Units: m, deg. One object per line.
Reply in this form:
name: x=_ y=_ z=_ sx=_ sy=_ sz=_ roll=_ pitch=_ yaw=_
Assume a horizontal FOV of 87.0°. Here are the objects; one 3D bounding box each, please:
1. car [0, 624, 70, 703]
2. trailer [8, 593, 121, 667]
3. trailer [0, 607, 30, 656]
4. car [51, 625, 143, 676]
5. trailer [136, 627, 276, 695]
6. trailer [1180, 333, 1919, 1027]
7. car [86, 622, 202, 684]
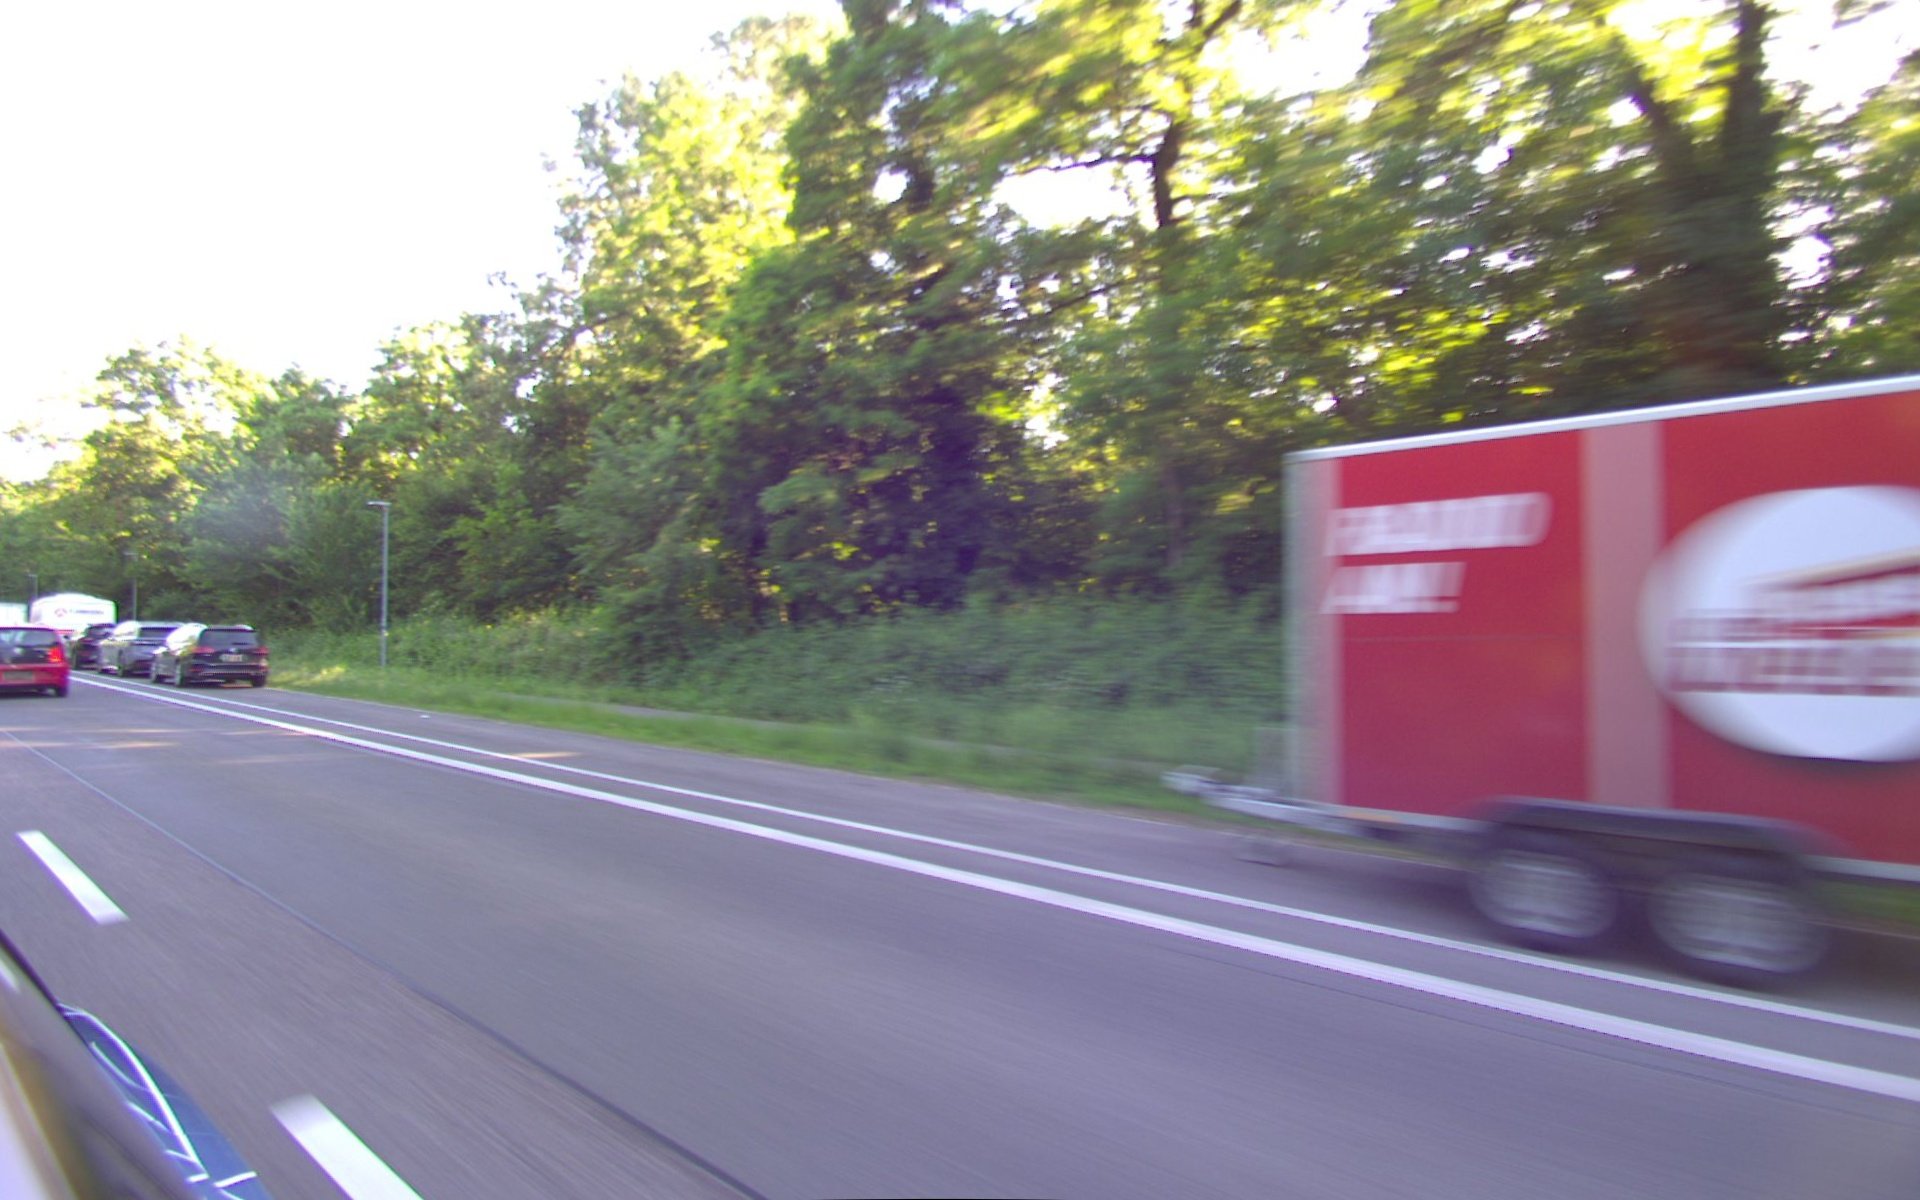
car: x=-18.756 y=1.200 z=19.759 sx=3.516 sy=1.431 sz=1.587 roll=-1 pitch=-3 yaw=41
trailer: x=-33.010 y=1.104 z=37.285 sx=4.338 sy=2.548 sz=2.323 roll=-1 pitch=-2 yaw=38
trailer: x=-49.941 y=1.615 z=52.378 sx=3.556 sy=2.499 sz=2.046 roll=-1 pitch=-2 yaw=38
car: x=-28.350 y=1.627 z=33.206 sx=4.192 sy=1.506 sz=1.653 roll=-1 pitch=-5 yaw=41
trailer: x=-18.300 y=1.408 z=24.482 sx=4.464 sy=1.477 sz=1.822 roll=-1 pitch=-1 yaw=41
trailer: x=3.470 y=0.335 z=5.339 sx=4.084 sy=2.641 sz=1.972 roll=-1 pitch=-2 yaw=41
car: x=-23.466 y=1.487 z=29.029 sx=5.125 sy=1.586 sz=1.653 roll=-1 pitch=-5 yaw=42
